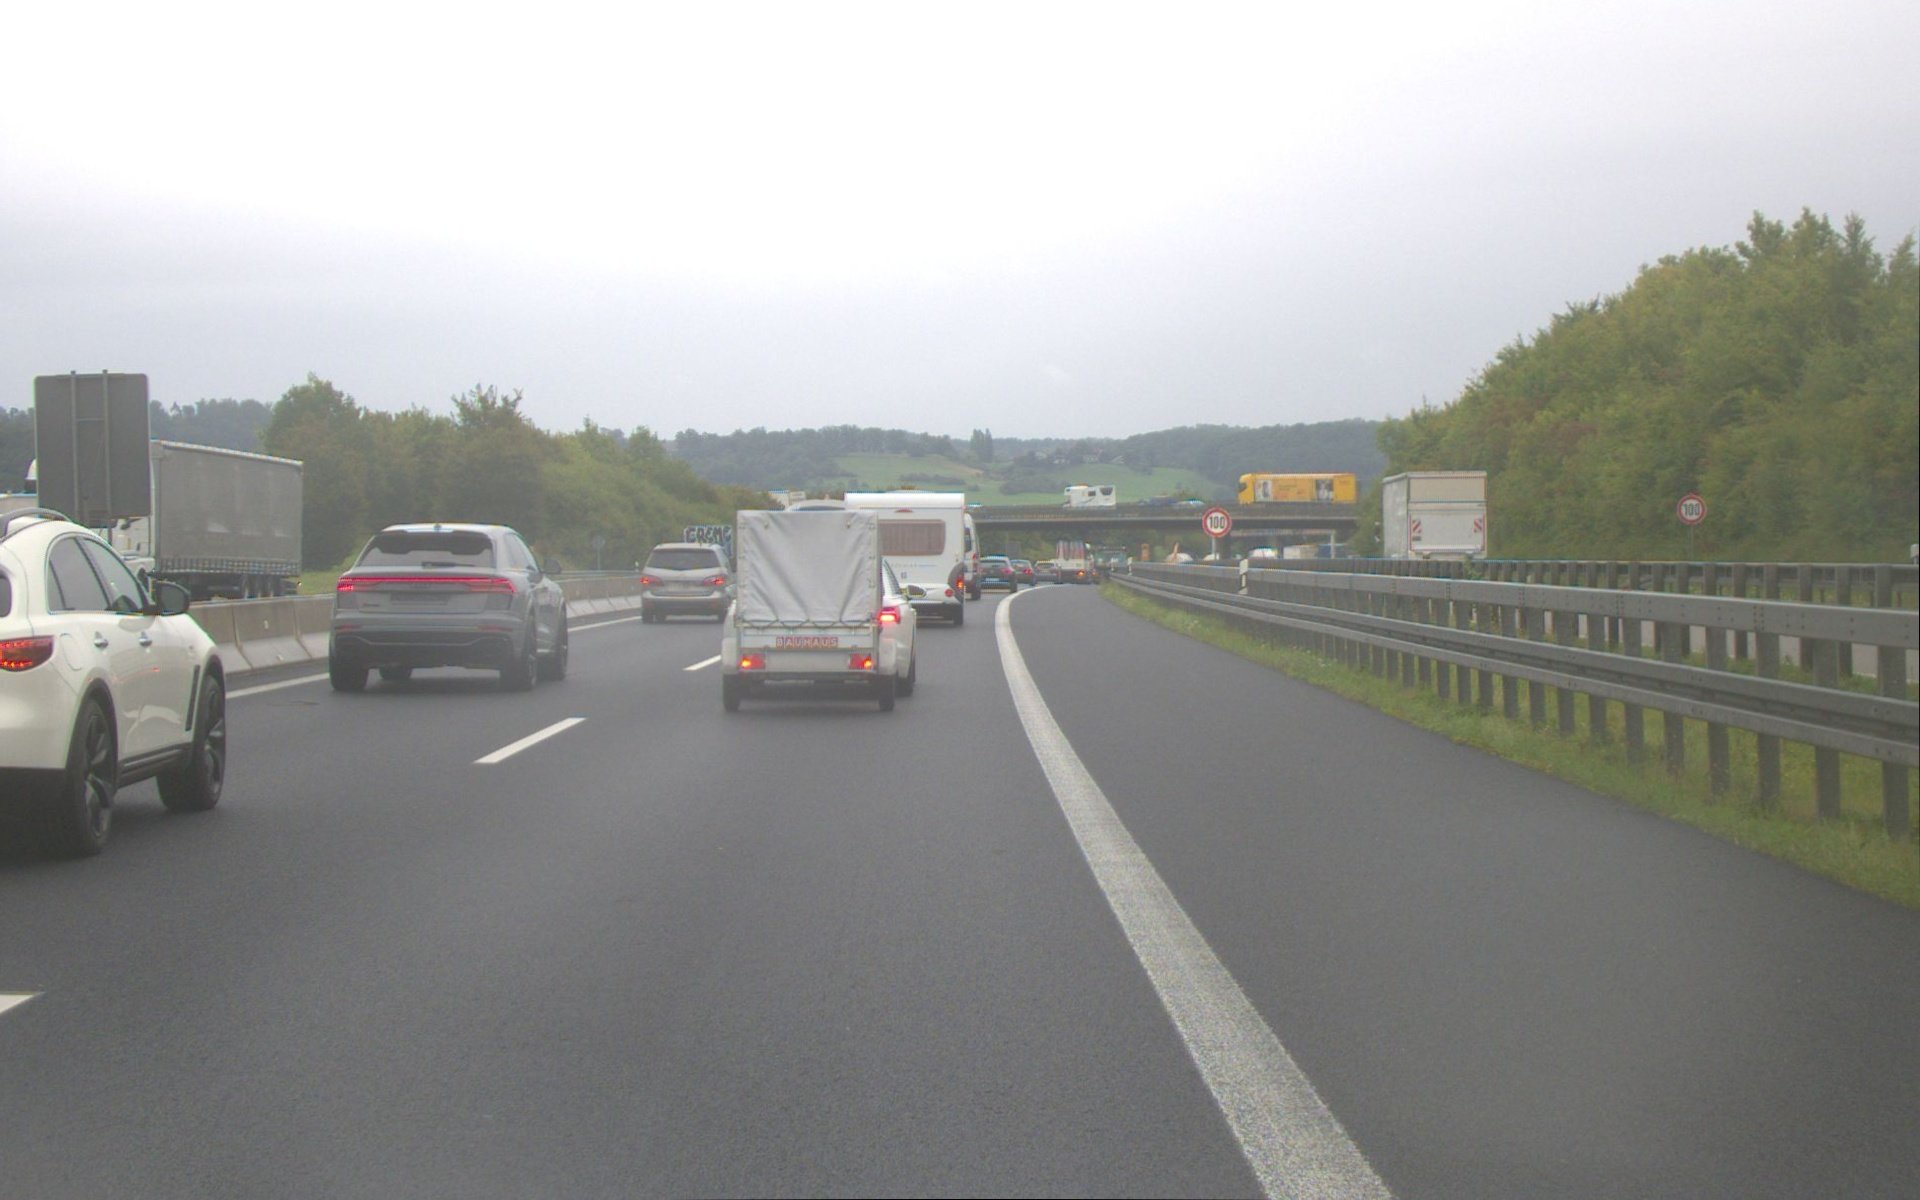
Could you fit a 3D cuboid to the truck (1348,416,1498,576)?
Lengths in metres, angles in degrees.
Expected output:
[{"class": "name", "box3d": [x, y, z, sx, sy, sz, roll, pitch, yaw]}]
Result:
[{"class": "truck", "box3d": [15.363, -3.413, 114.849, 4.094, 5.086, 10.462, 0, 1, 3]}]

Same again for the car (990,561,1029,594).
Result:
[{"class": "car", "box3d": [2.736, -1.242, 189.894, 1.994, 1.744, 4.000, 1, 1, 3]}]

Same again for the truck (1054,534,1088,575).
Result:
[{"class": "truck", "box3d": [8.385, -3.412, 259.498, 2.278, 3.072, 7.245, 1, 1, 4]}]

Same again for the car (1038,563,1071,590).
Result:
[{"class": "car", "box3d": [6.404, -1.599, 232.378, 1.994, 1.744, 3.999, 1, 1, 4]}]

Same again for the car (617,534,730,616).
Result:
[{"class": "car", "box3d": [-5.758, -0.526, 69.494, 1.900, 1.607, 4.017, 0, 1, 0]}]

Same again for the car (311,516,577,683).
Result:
[{"class": "car", "box3d": [-5.313, -0.035, 35.990, 2.174, 1.626, 4.501, 0, 1, -1]}]

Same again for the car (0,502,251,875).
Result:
[{"class": "car", "box3d": [-4.992, 0.364, 17.314, 1.976, 1.633, 4.501, 0, 1, -1]}]

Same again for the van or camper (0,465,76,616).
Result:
[{"class": "van or camper", "box3d": [-16.513, -0.992, 57.531, 1.795, 2.461, 5.547, 0, 1, 2]}]

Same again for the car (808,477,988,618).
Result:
[{"class": "car", "box3d": [-1.135, -1.037, 67.183, 3.017, 2.607, 6.074, 0, 1, 4]}]

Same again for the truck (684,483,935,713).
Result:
[{"class": "truck", "box3d": [-1.323, -0.080, 33.217, 2.019, 1.979, 7.213, 0, 1, 1]}]

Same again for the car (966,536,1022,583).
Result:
[{"class": "car", "box3d": [1.328, -1.573, 133.376, 1.994, 1.744, 4.000, 1, 1, 3]}]

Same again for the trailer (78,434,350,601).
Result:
[{"class": "trailer", "box3d": [-19.549, -2.149, 91.308, 3.260, 4.069, 13.843, 0, 1, 4]}]

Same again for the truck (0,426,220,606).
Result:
[{"class": "truck", "box3d": [-20.237, -1.967, 81.611, 3.260, 4.069, 7.440, 0, 1, 4]}]

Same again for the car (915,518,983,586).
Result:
[{"class": "car", "box3d": [-0.360, -1.481, 106.438, 1.993, 2.029, 4.152, 1, 1, -1]}]
